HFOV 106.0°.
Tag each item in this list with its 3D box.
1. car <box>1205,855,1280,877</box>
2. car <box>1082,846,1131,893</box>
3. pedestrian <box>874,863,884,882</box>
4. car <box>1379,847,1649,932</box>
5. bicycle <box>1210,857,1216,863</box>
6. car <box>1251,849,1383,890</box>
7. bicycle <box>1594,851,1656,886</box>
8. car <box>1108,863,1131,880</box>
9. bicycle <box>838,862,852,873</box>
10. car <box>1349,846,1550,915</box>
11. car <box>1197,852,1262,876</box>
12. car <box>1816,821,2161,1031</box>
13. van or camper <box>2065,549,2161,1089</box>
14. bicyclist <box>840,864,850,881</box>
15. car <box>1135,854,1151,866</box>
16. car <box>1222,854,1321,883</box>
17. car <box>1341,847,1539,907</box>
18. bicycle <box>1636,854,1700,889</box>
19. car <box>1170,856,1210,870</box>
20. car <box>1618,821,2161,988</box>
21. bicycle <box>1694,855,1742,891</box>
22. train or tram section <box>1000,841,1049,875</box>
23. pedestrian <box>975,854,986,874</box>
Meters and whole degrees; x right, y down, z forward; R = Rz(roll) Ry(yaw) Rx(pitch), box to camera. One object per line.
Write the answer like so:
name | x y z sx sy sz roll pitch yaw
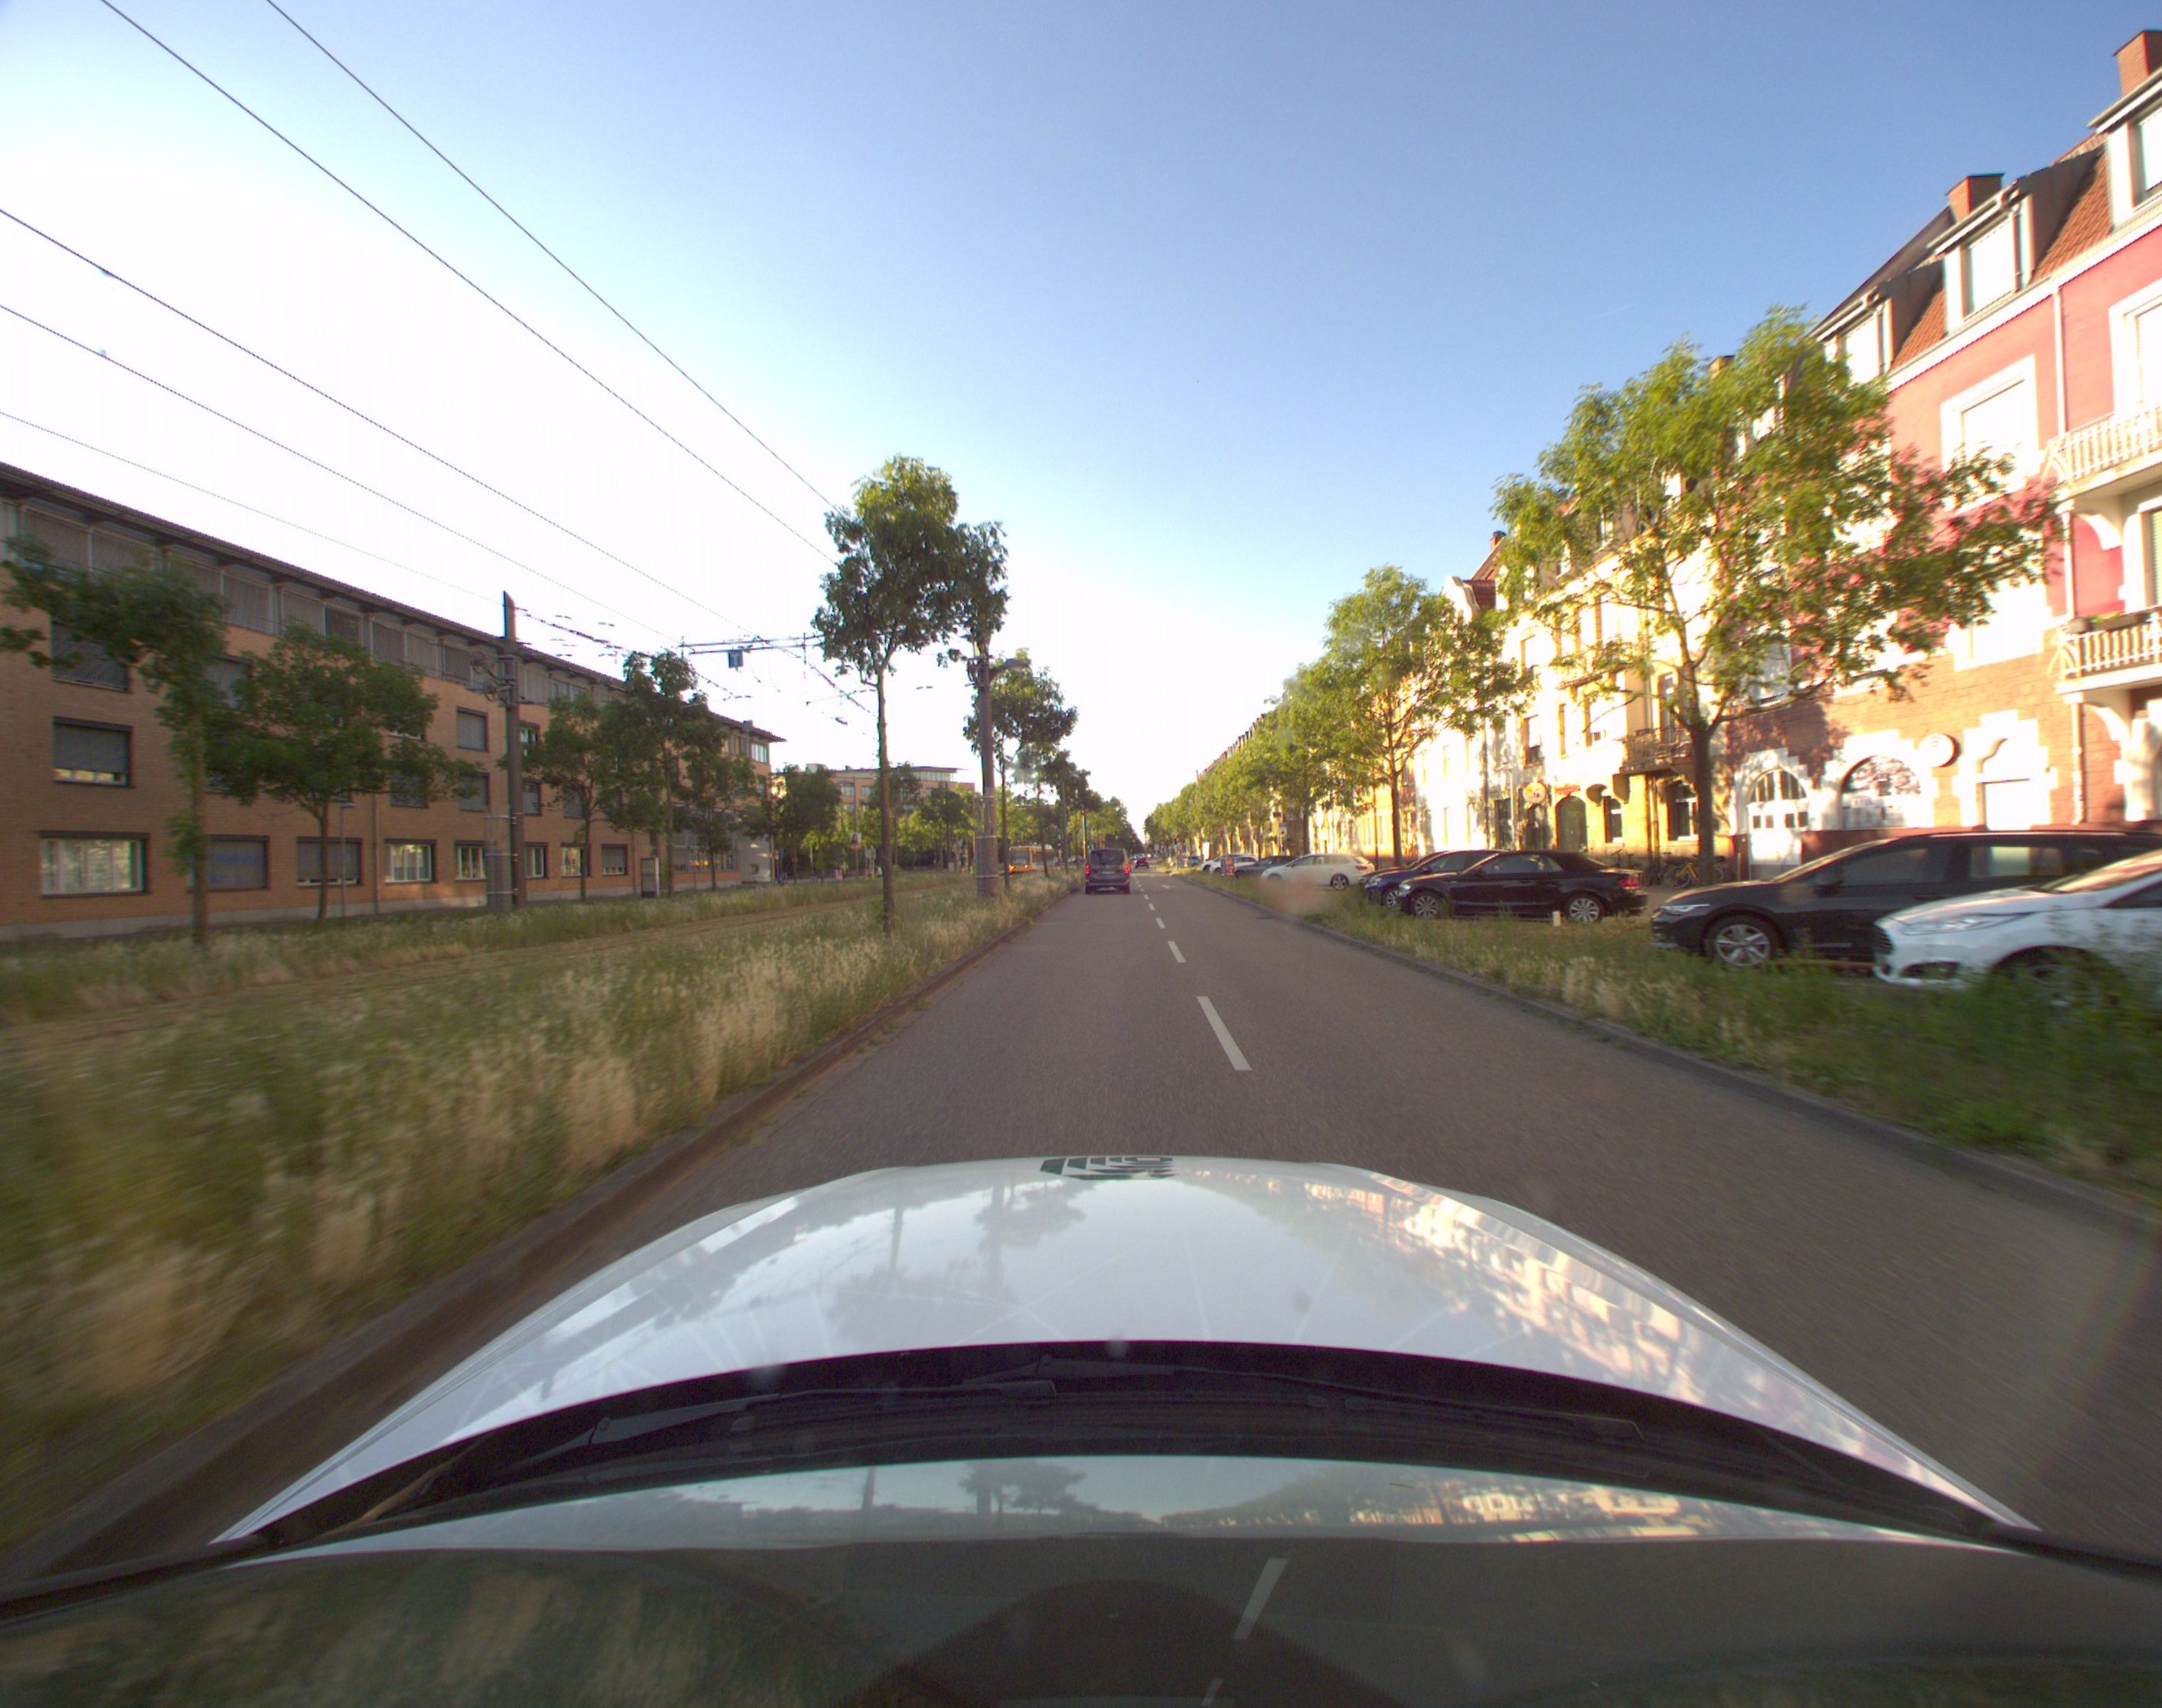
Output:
car | 10.838 0.817 54.819 4.496 1.400 2.044 -2 -1 34
car | 1.161 0.643 34.997 1.985 1.901 4.303 0 0 4
pedestrian | -18.087 1.674 72.866 0.687 1.697 0.828 -2 -1 -5
car | 8.283 0.610 15.713 4.379 1.423 1.935 -1 0 35
bicycle | 22.184 1.023 136.785 0.868 0.916 2.087 -3 0 5
car | 9.222 0.617 32.052 4.586 1.510 1.859 -2 -1 38
bicycle | 17.850 0.471 26.798 0.585 1.078 2.229 -3 0 3
car | 3.599 1.614 76.070 1.987 1.510 4.000 -1 0 0
bicycle | -24.560 1.402 84.783 0.706 1.052 2.095 -2 0 3
car | 8.407 0.584 18.678 4.000 1.437 1.738 -1 -1 31
car | 11.052 0.761 60.842 4.375 1.691 1.928 -1 0 38
car | 8.019 0.458 5.943 3.873 1.403 1.807 -2 -1 41
van or camper | 7.887 -0.232 2.600 5.578 2.812 2.218 -2 -1 34
bicyclist | -24.548 1.925 84.805 0.692 1.674 0.826 -2 -1 3
car | 7.898 0.780 103.554 1.985 1.510 4.003 -1 0 3
car | 9.763 0.745 41.947 4.523 1.348 1.908 -2 -1 36
car | 9.336 0.560 21.348 4.379 1.417 1.897 -1 0 39
bicycle | 17.749 0.510 24.668 0.576 0.990 1.929 -2 0 3
car | 12.748 1.026 95.445 4.232 1.522 1.859 -1 0 35
car | 8.381 0.461 8.667 4.221 1.403 1.807 -2 -1 40
bicycle | 17.826 0.519 22.817 0.416 0.961 1.219 -2 0 3
train or tram section | -6.035 0.459 90.238 3.416 3.430 15.040 -2 0 3
pedestrian | -10.159 1.033 82.121 0.930 2.014 0.958 -2 -1 3
